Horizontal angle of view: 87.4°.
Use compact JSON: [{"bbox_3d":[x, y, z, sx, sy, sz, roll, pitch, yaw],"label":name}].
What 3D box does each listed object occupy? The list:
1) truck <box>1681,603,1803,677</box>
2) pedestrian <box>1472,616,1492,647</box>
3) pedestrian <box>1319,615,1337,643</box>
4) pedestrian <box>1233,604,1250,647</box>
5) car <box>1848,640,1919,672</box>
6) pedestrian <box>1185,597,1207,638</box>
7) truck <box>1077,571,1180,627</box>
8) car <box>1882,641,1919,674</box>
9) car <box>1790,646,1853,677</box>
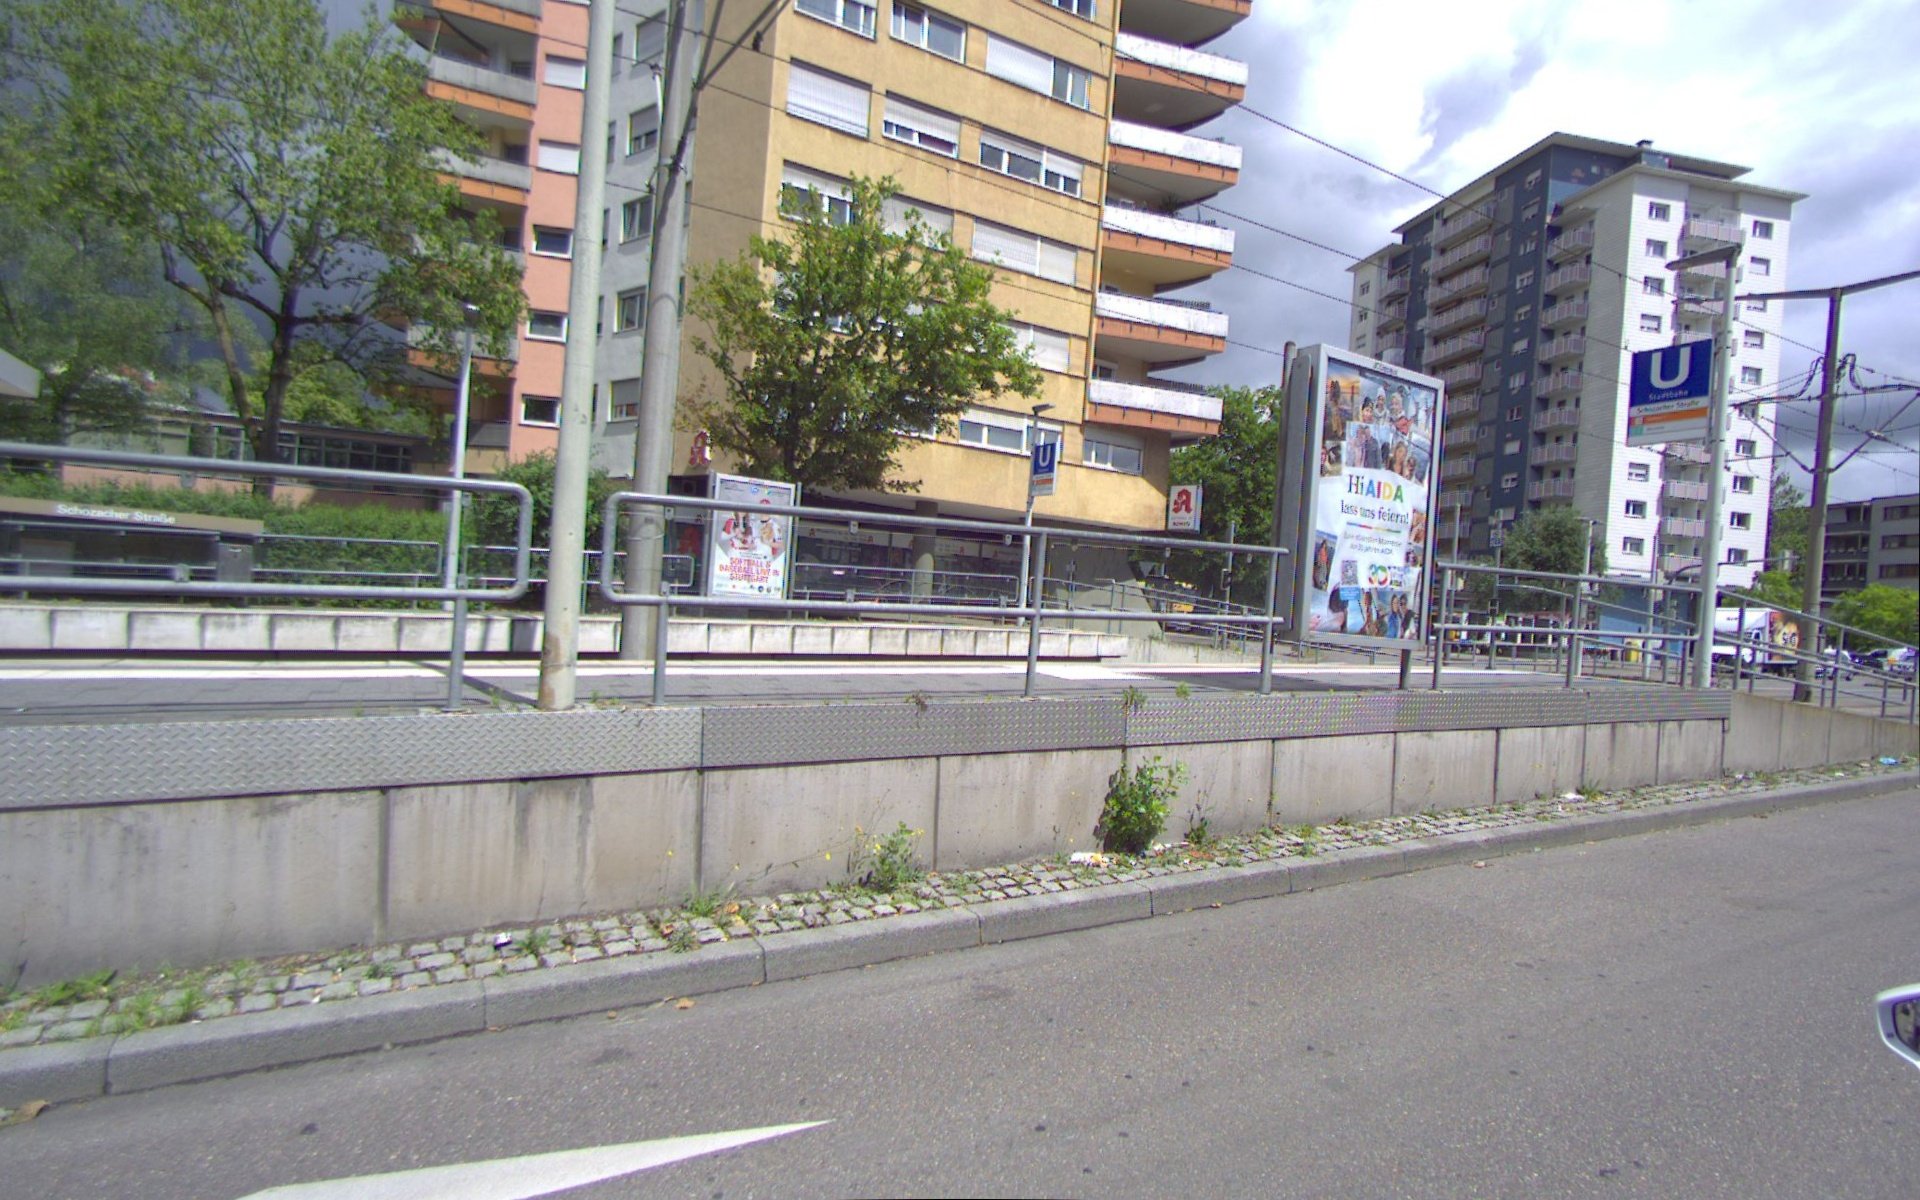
[{"bbox_3d":[36.256,1.869,46.469,7.244,3.159,2.267,2,0,-34],"label":"truck"},{"bbox_3d":[35.658,2.126,68.571,0.831,2.040,0.861,2,0,-2],"label":"pedestrian"},{"bbox_3d":[19.469,1.537,53.130,0.657,1.487,0.555,2,0,-33],"label":"pedestrian"},{"bbox_3d":[13.843,1.253,49.402,0.557,2.040,0.534,2,0,-39],"label":"pedestrian"},{"bbox_3d":[63.429,3.811,68.544,3.846,2.001,1.657,2,0,18],"label":"car"},{"bbox_3d":[10.692,0.802,45.444,0.655,1.799,0.653,2,0,-31],"label":"pedestrian"},{"bbox_3d":[7.457,-0.080,44.875,2.323,2.320,4.260,2,0,-29],"label":"truck"},{"bbox_3d":[56.214,3.404,59.337,3.732,1.780,1.583,2,0,-31],"label":"car"},{"bbox_3d":[44.604,3.186,51.992,3.733,1.480,1.399,2,0,-32],"label":"car"}]
